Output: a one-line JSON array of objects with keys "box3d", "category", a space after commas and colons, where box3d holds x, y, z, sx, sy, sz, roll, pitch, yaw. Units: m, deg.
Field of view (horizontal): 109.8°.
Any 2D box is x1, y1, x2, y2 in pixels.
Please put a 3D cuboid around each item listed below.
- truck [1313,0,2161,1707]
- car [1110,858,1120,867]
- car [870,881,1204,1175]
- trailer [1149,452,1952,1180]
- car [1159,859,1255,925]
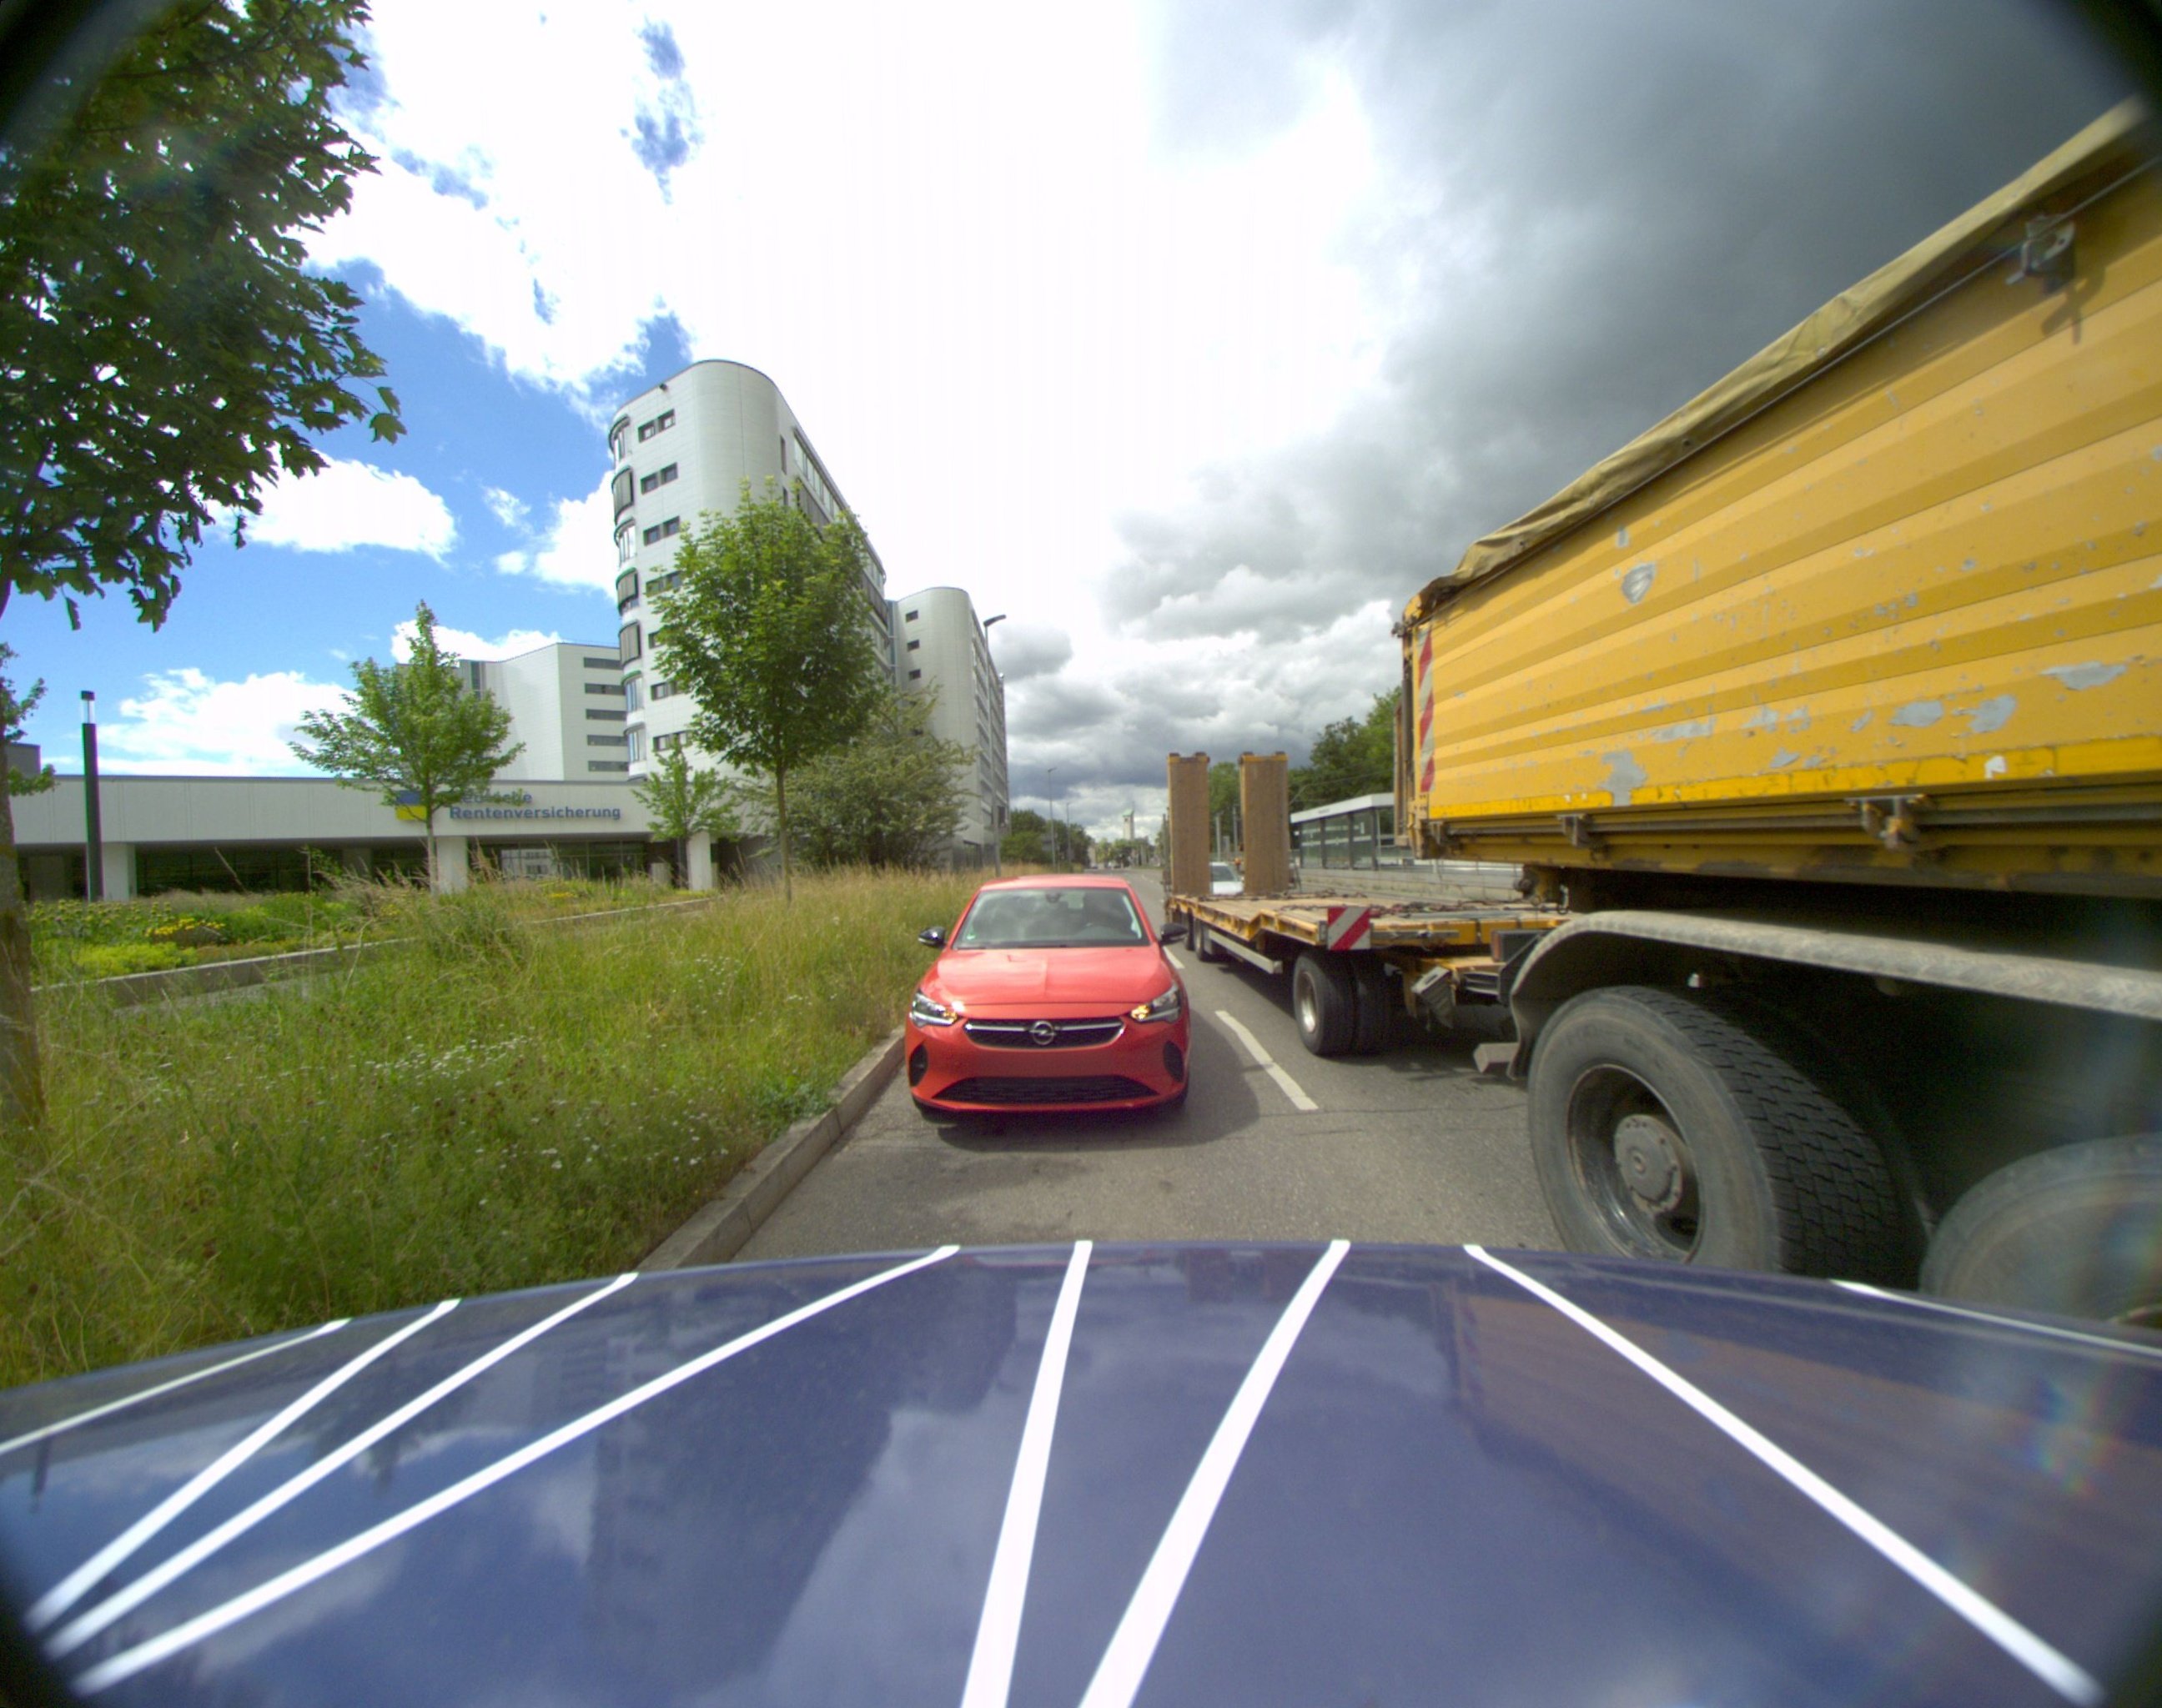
[{"box3d": [2.867, -0.058, 0.127, 3.057, 3.374, 8.006, -2, 0, 0], "category": "truck"}, {"box3d": [7.528, 1.771, 166.656, 1.998, 1.805, 4.000, -2, 0, 1], "category": "car"}, {"box3d": [-0.201, 0.990, 5.857, 1.749, 1.408, 3.676, -1, 0, 1], "category": "car"}, {"box3d": [2.939, -0.172, 9.427, 3.057, 3.676, 10.965, -2, 0, 0], "category": "trailer"}, {"box3d": [3.043, 0.879, 19.026, 1.784, 1.408, 3.785, -2, 0, 1], "category": "car"}]
